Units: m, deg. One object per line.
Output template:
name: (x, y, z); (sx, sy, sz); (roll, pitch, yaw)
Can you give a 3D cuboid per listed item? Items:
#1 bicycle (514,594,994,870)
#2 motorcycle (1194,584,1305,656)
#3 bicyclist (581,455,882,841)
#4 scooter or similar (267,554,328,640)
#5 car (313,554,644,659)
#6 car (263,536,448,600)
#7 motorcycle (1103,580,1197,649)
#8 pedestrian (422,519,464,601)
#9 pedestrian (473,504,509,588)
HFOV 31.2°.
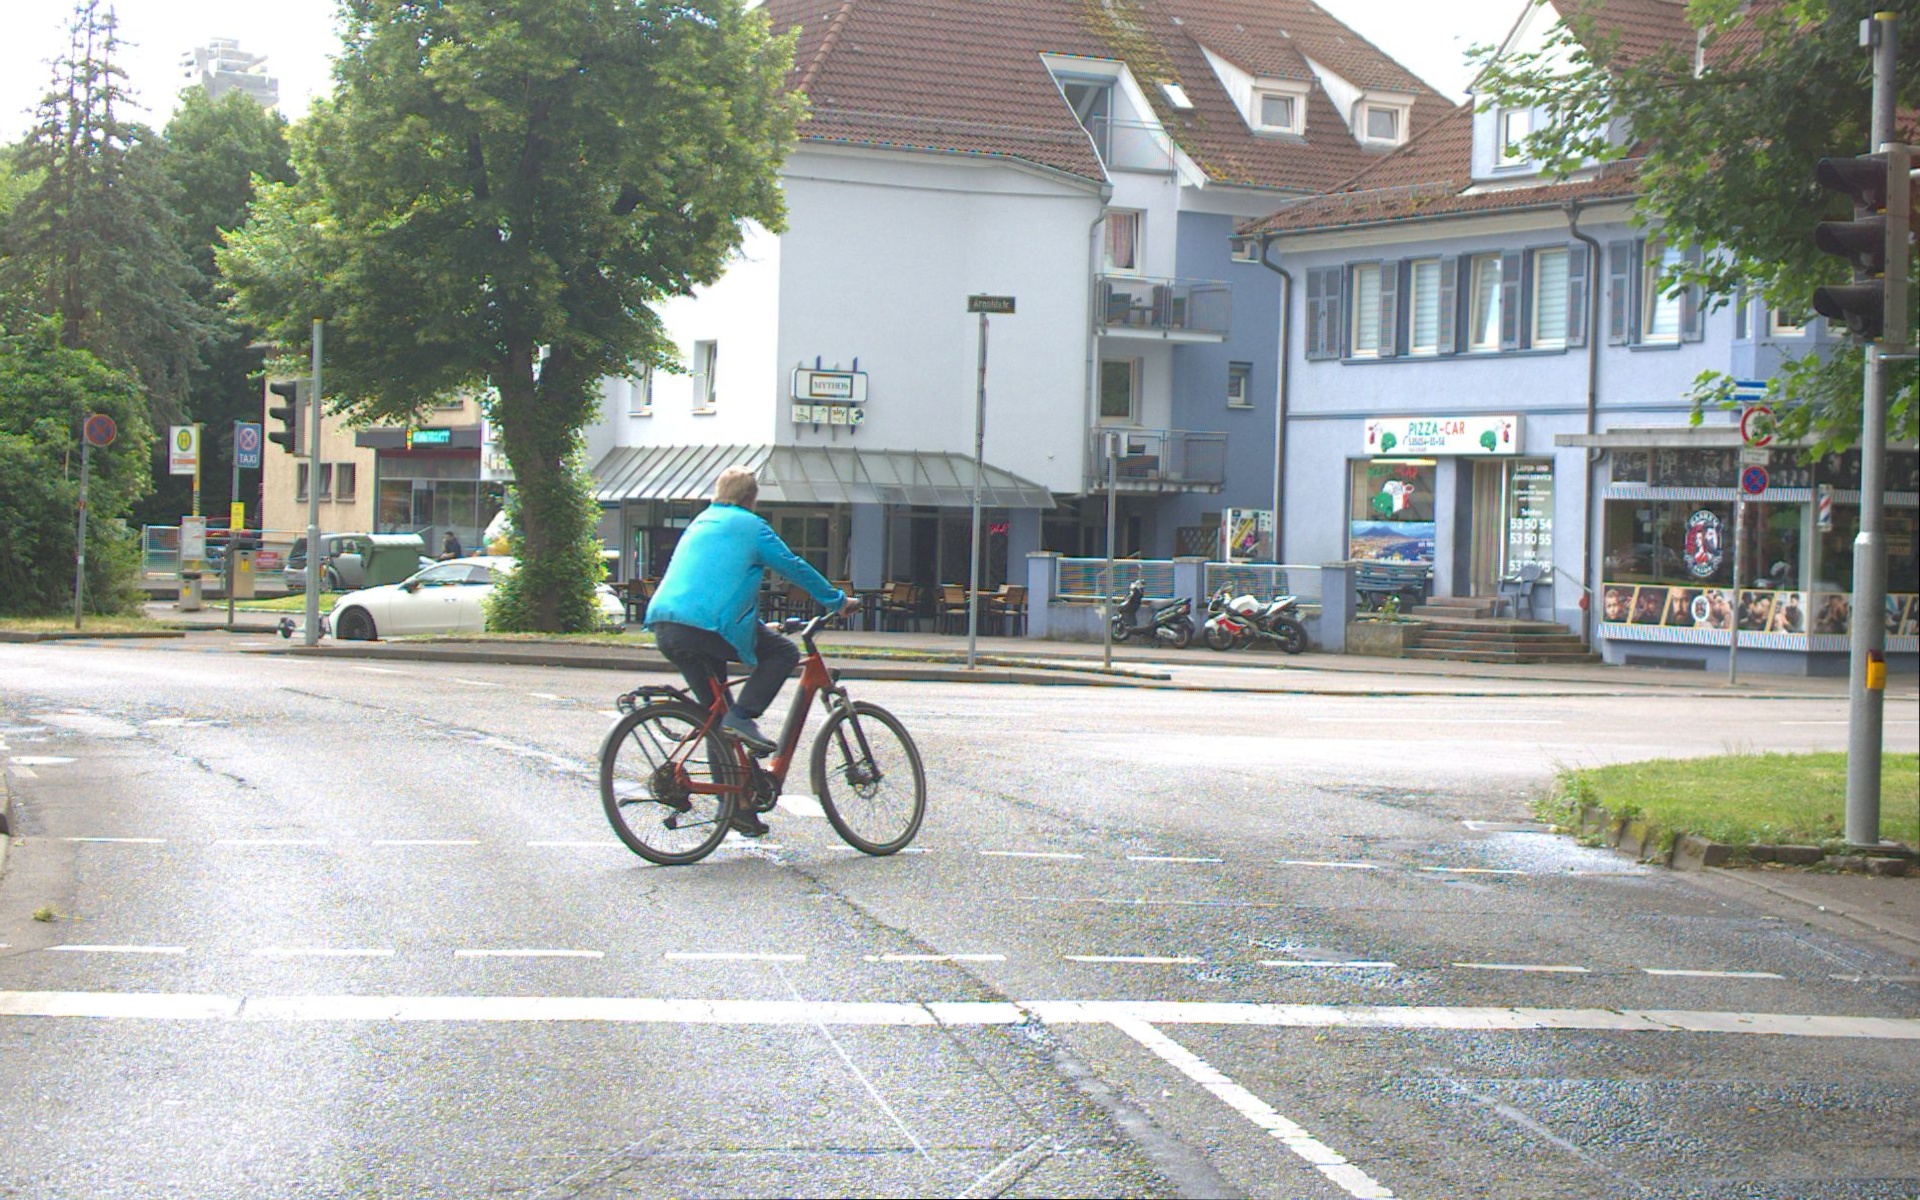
bicycle: (-0.910, 0.563, 15.380); (1.946, 1.145, 0.876); (1, 1, -34)
motorcycle: (4.584, 0.309, 54.407); (1.627, 1.085, 0.626); (1, 1, 28)
bicyclist: (-1.022, 0.197, 15.301); (0.985, 1.646, 0.918); (1, 1, -33)
scooter or similar: (-9.189, -0.048, 47.741); (0.442, 1.171, 1.437); (1, 1, 5)
car: (-7.173, 0.076, 51.026); (4.708, 1.405, 1.899); (2, 1, 31)
car: (-14.155, -0.750, 80.501); (3.936, 1.437, 1.753); (1, 1, -23)
motorcycle: (3.097, 0.229, 56.083); (1.457, 1.085, 0.523); (1, 1, 32)
pedestrian: (-12.882, -0.998, 85.646); (0.837, 2.007, 1.056); (1, 1, -18)
pedestrian: (-8.785, -1.010, 64.386); (0.543, 1.554, 0.468); (1, 0, 10)
